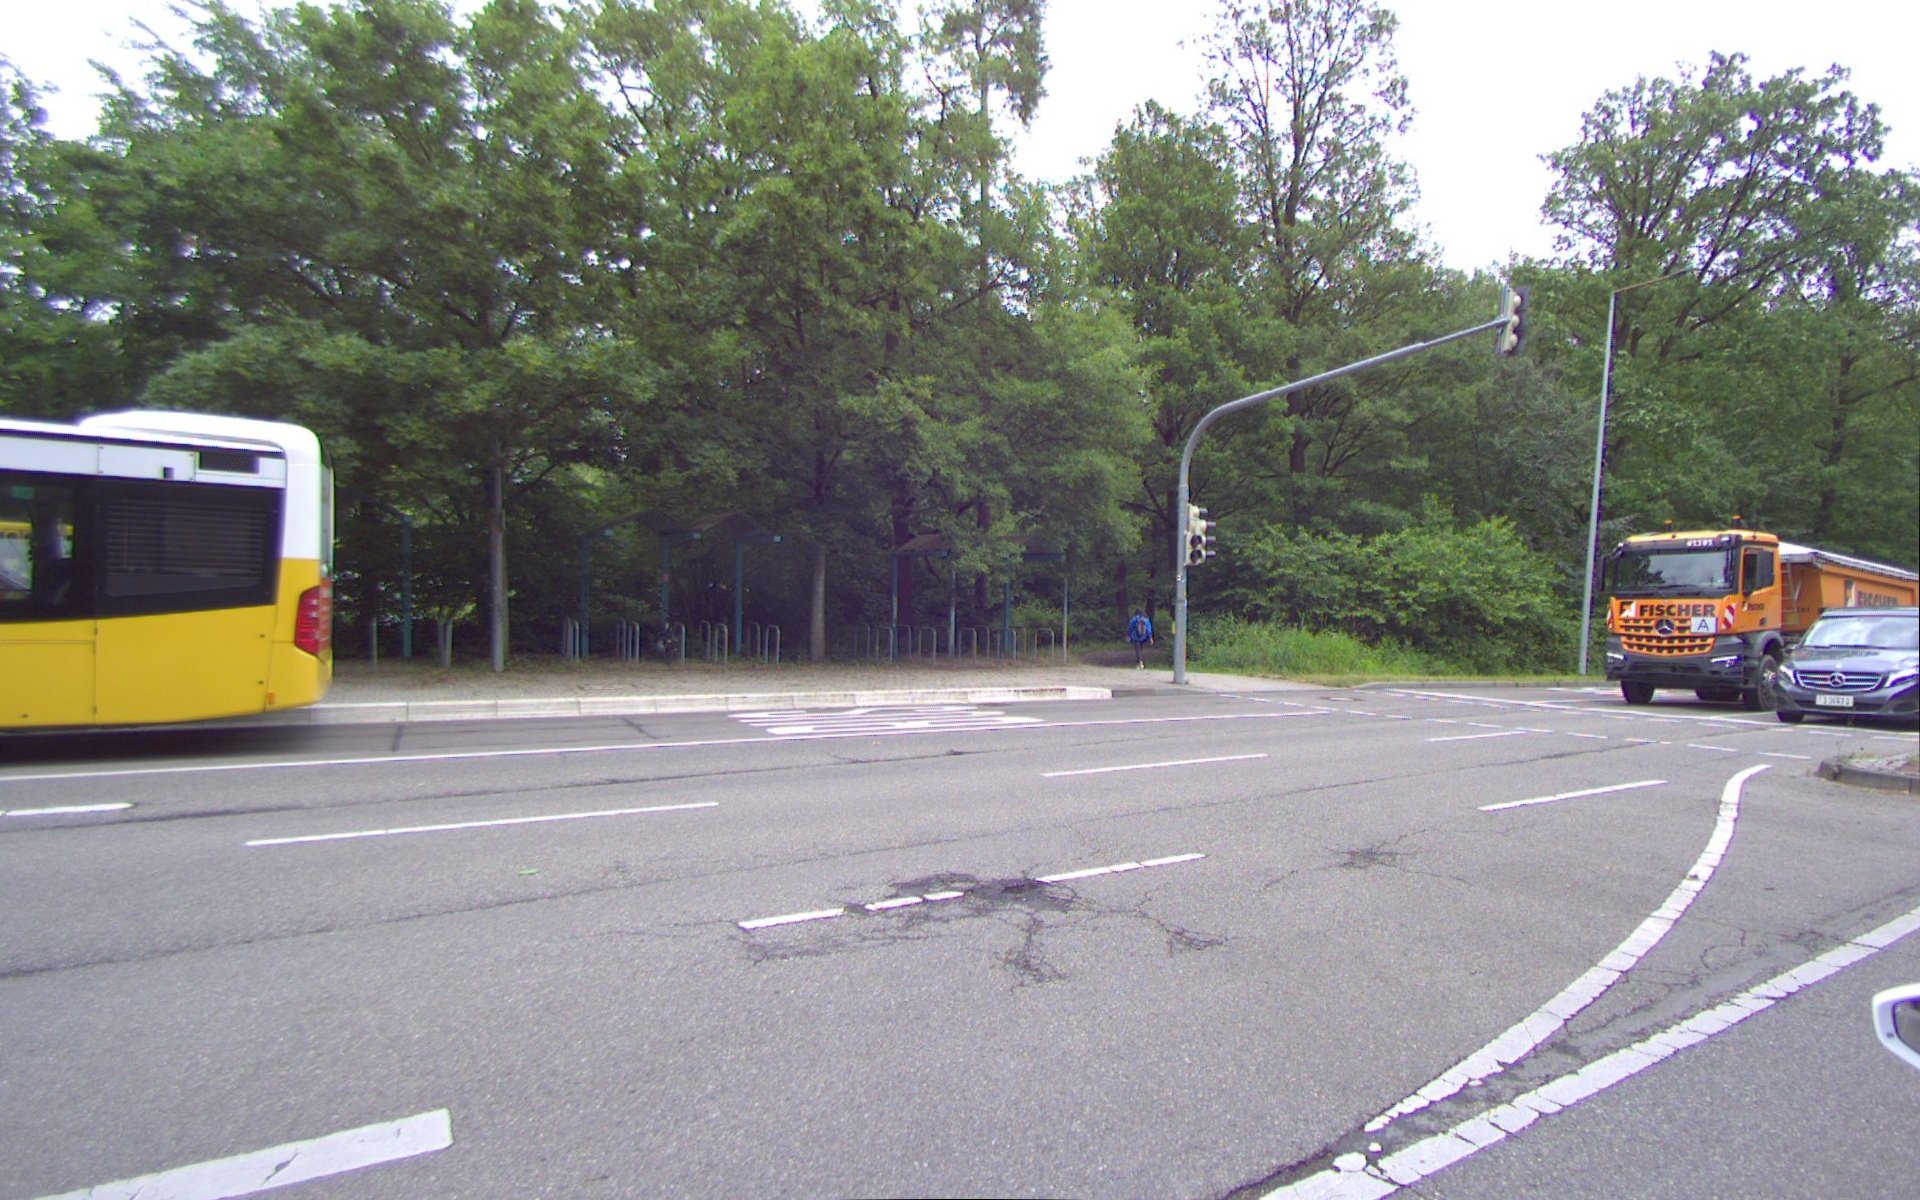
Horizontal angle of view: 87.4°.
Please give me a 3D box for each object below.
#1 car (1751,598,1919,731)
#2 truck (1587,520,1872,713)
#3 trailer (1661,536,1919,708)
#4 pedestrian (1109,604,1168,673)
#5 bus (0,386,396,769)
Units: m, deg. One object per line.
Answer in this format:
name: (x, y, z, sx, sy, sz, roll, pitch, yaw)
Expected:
car: (15.225, 1.024, 16.653, 4.789, 1.918, 1.981, 2, -2, -34)
truck: (16.011, 0.436, 20.725, 7.090, 3.362, 2.721, 3, -2, -35)
trailer: (19.490, 0.608, 23.222, 8.486, 3.362, 2.720, 3, -2, -36)
pedestrian: (4.665, 0.992, 26.288, 1.056, 1.671, 1.042, 0, 4, -28)
bus: (-9.924, -0.229, 8.834, 8.592, 3.168, 2.885, 1, 0, -30)
